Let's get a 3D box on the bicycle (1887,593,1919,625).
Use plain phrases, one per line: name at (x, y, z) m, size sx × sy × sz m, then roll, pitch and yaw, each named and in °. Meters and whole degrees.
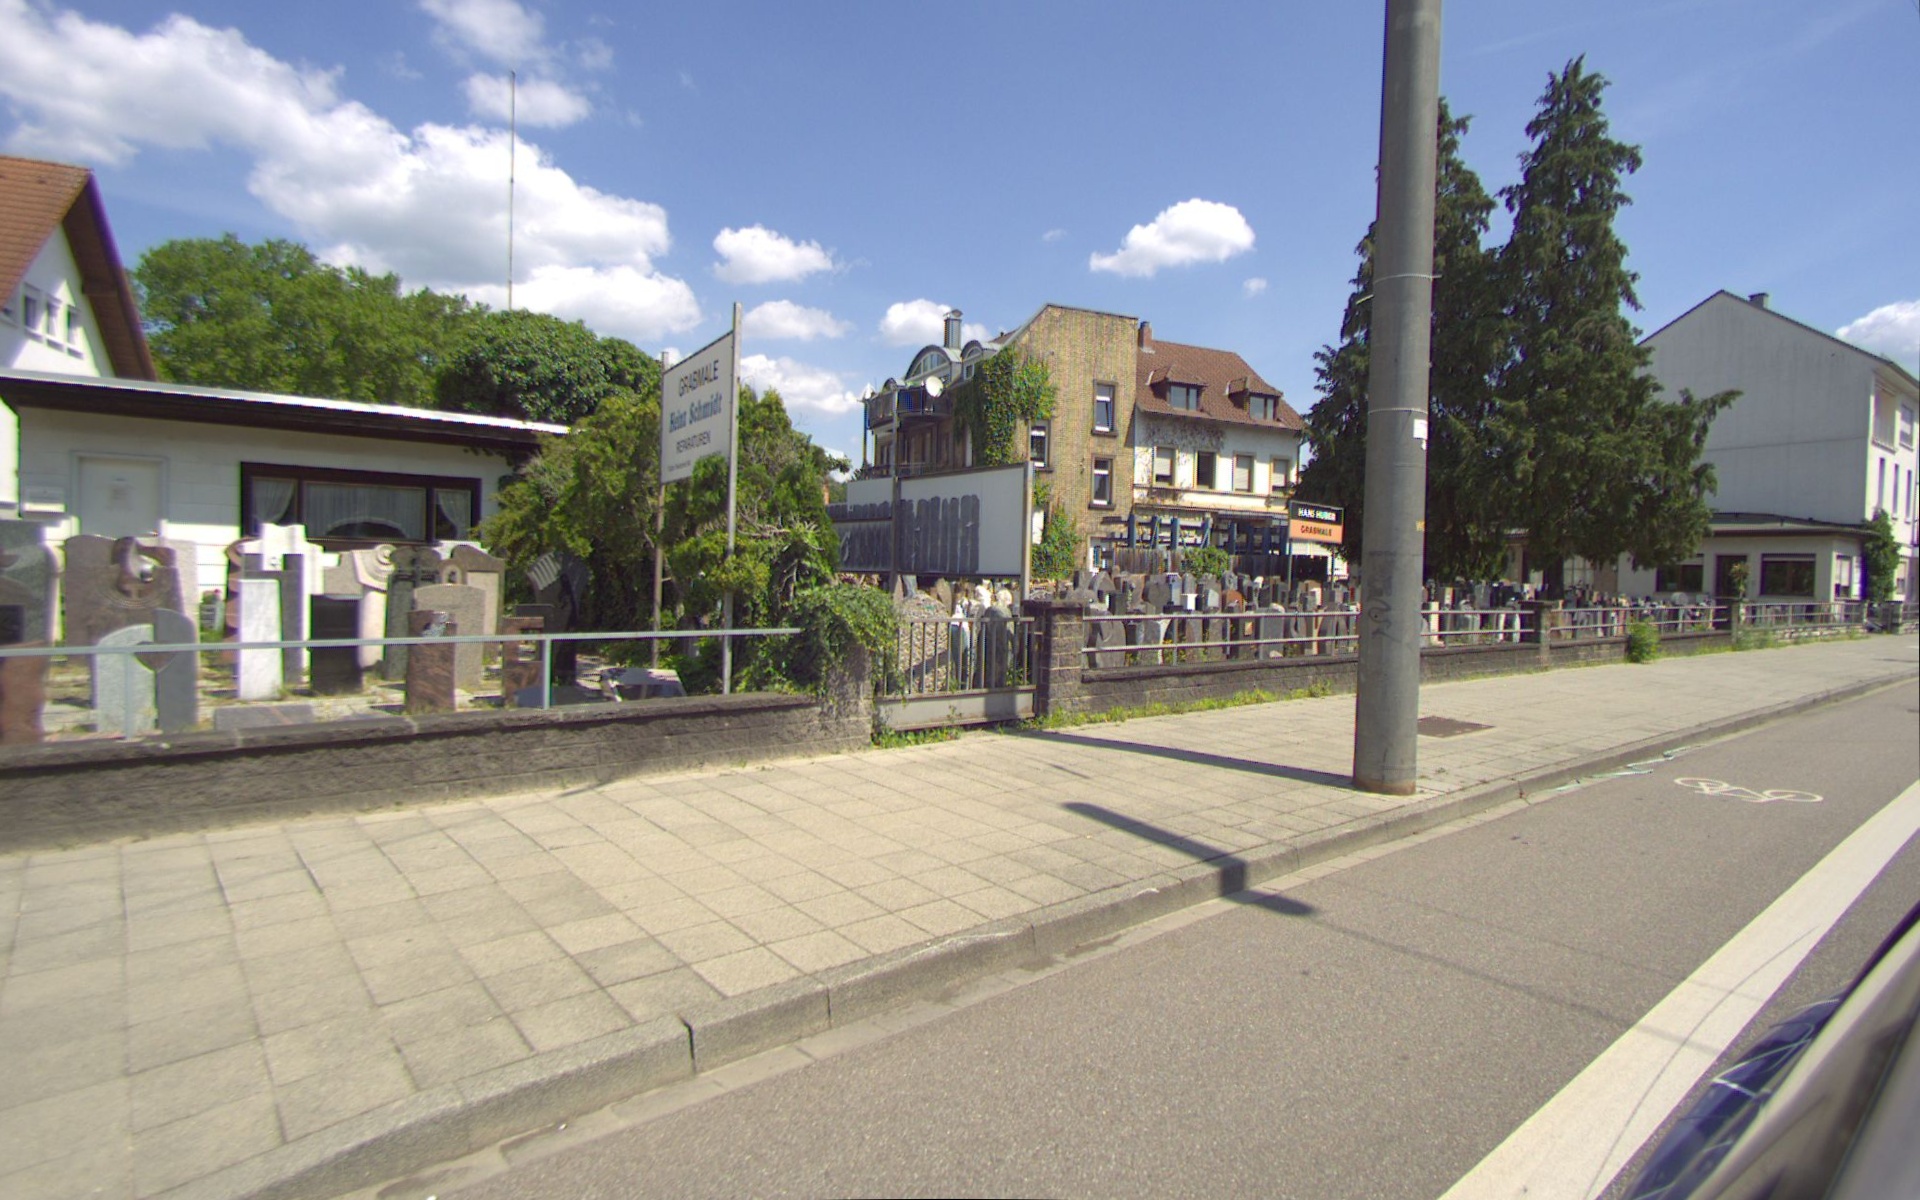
bicycle at (35.941, 0.359, 38.028) m, size 0.421 × 1.099 × 1.540 m, roll 1°, pitch 4°, yaw -32°
